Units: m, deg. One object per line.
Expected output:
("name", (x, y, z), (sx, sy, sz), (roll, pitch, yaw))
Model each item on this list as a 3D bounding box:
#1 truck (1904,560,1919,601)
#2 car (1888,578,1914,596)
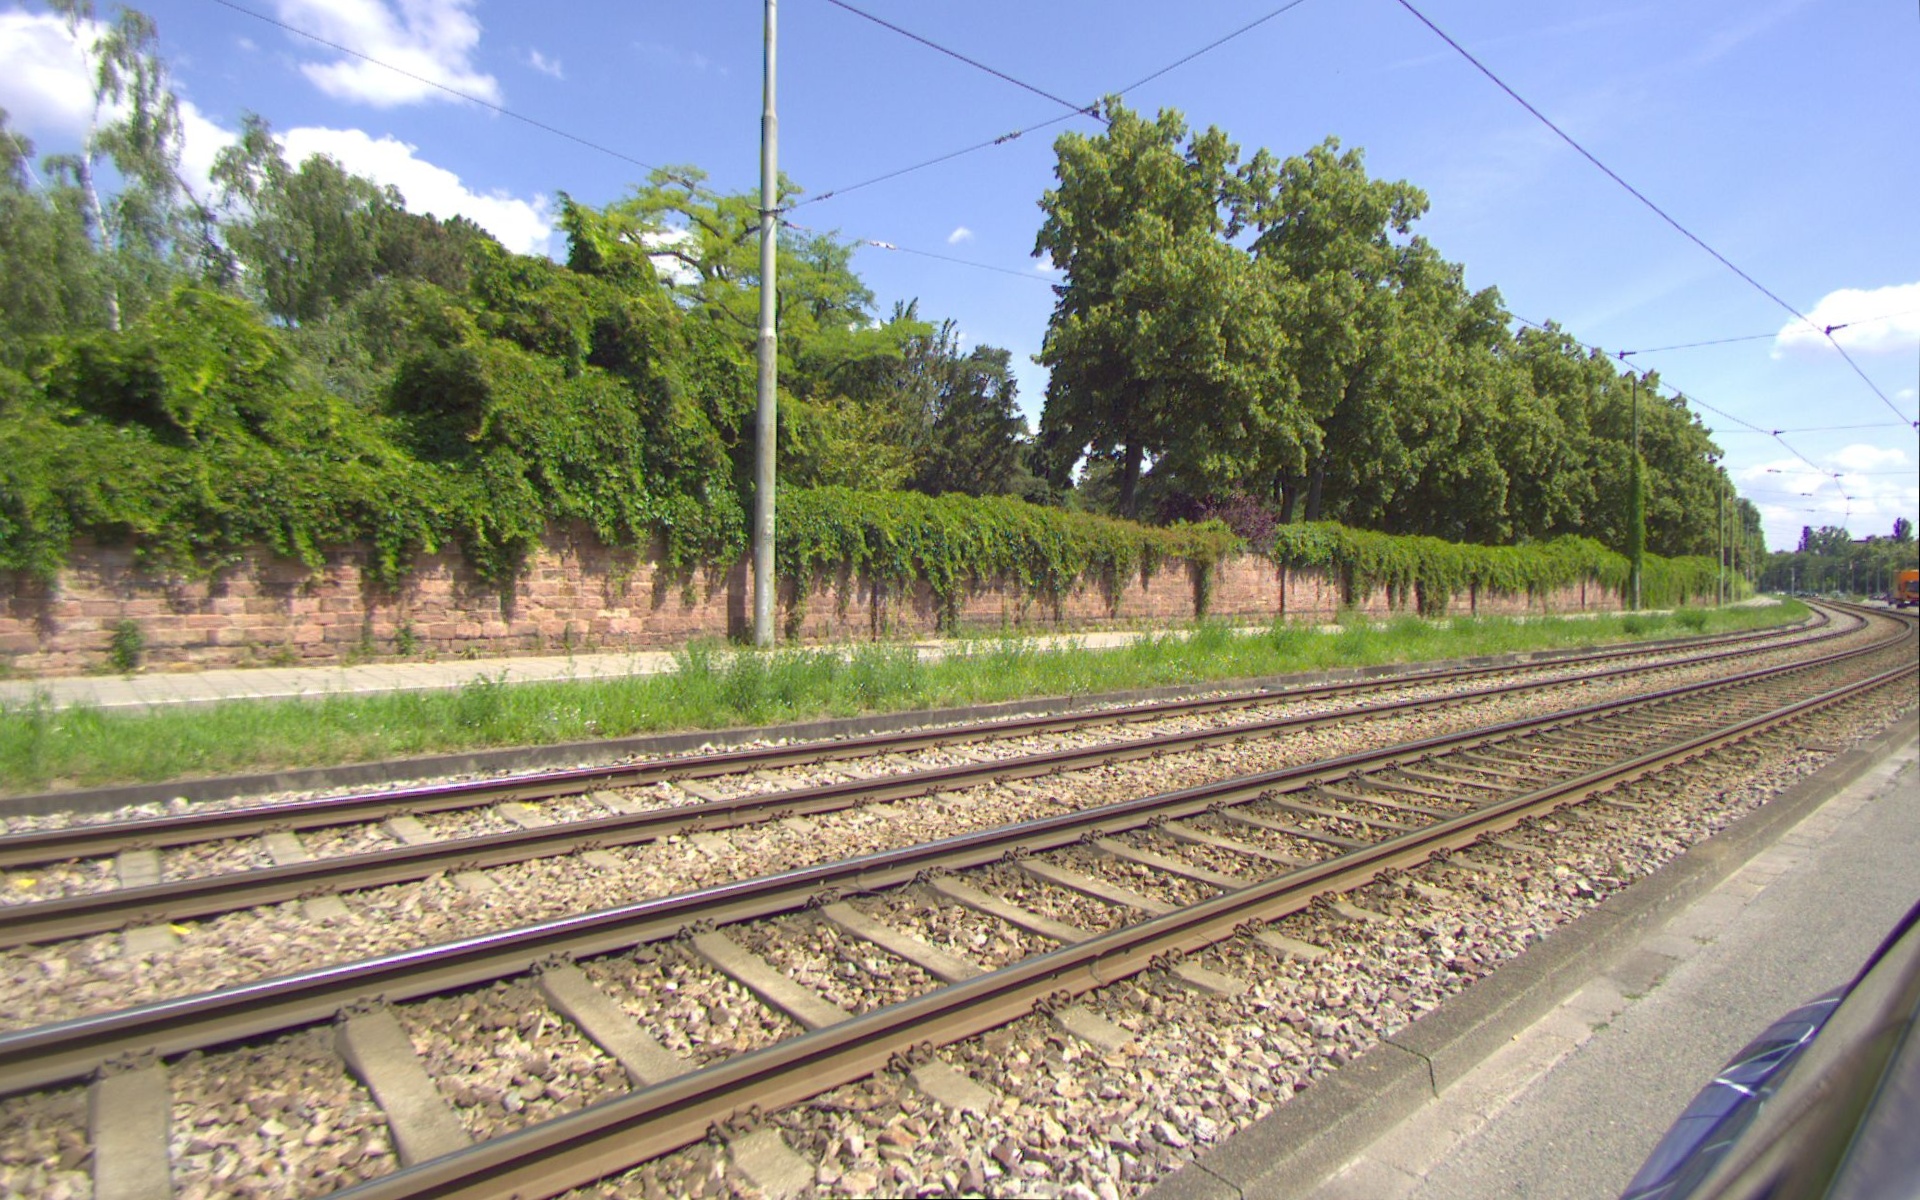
("truck", (89.168, -1.786, 93.338), (2.836, 3.640, 8.576), (1, 1, 41))
("car", (107.499, -1.532, 115.645), (1.992, 2.039, 3.940), (0, 1, 42))
